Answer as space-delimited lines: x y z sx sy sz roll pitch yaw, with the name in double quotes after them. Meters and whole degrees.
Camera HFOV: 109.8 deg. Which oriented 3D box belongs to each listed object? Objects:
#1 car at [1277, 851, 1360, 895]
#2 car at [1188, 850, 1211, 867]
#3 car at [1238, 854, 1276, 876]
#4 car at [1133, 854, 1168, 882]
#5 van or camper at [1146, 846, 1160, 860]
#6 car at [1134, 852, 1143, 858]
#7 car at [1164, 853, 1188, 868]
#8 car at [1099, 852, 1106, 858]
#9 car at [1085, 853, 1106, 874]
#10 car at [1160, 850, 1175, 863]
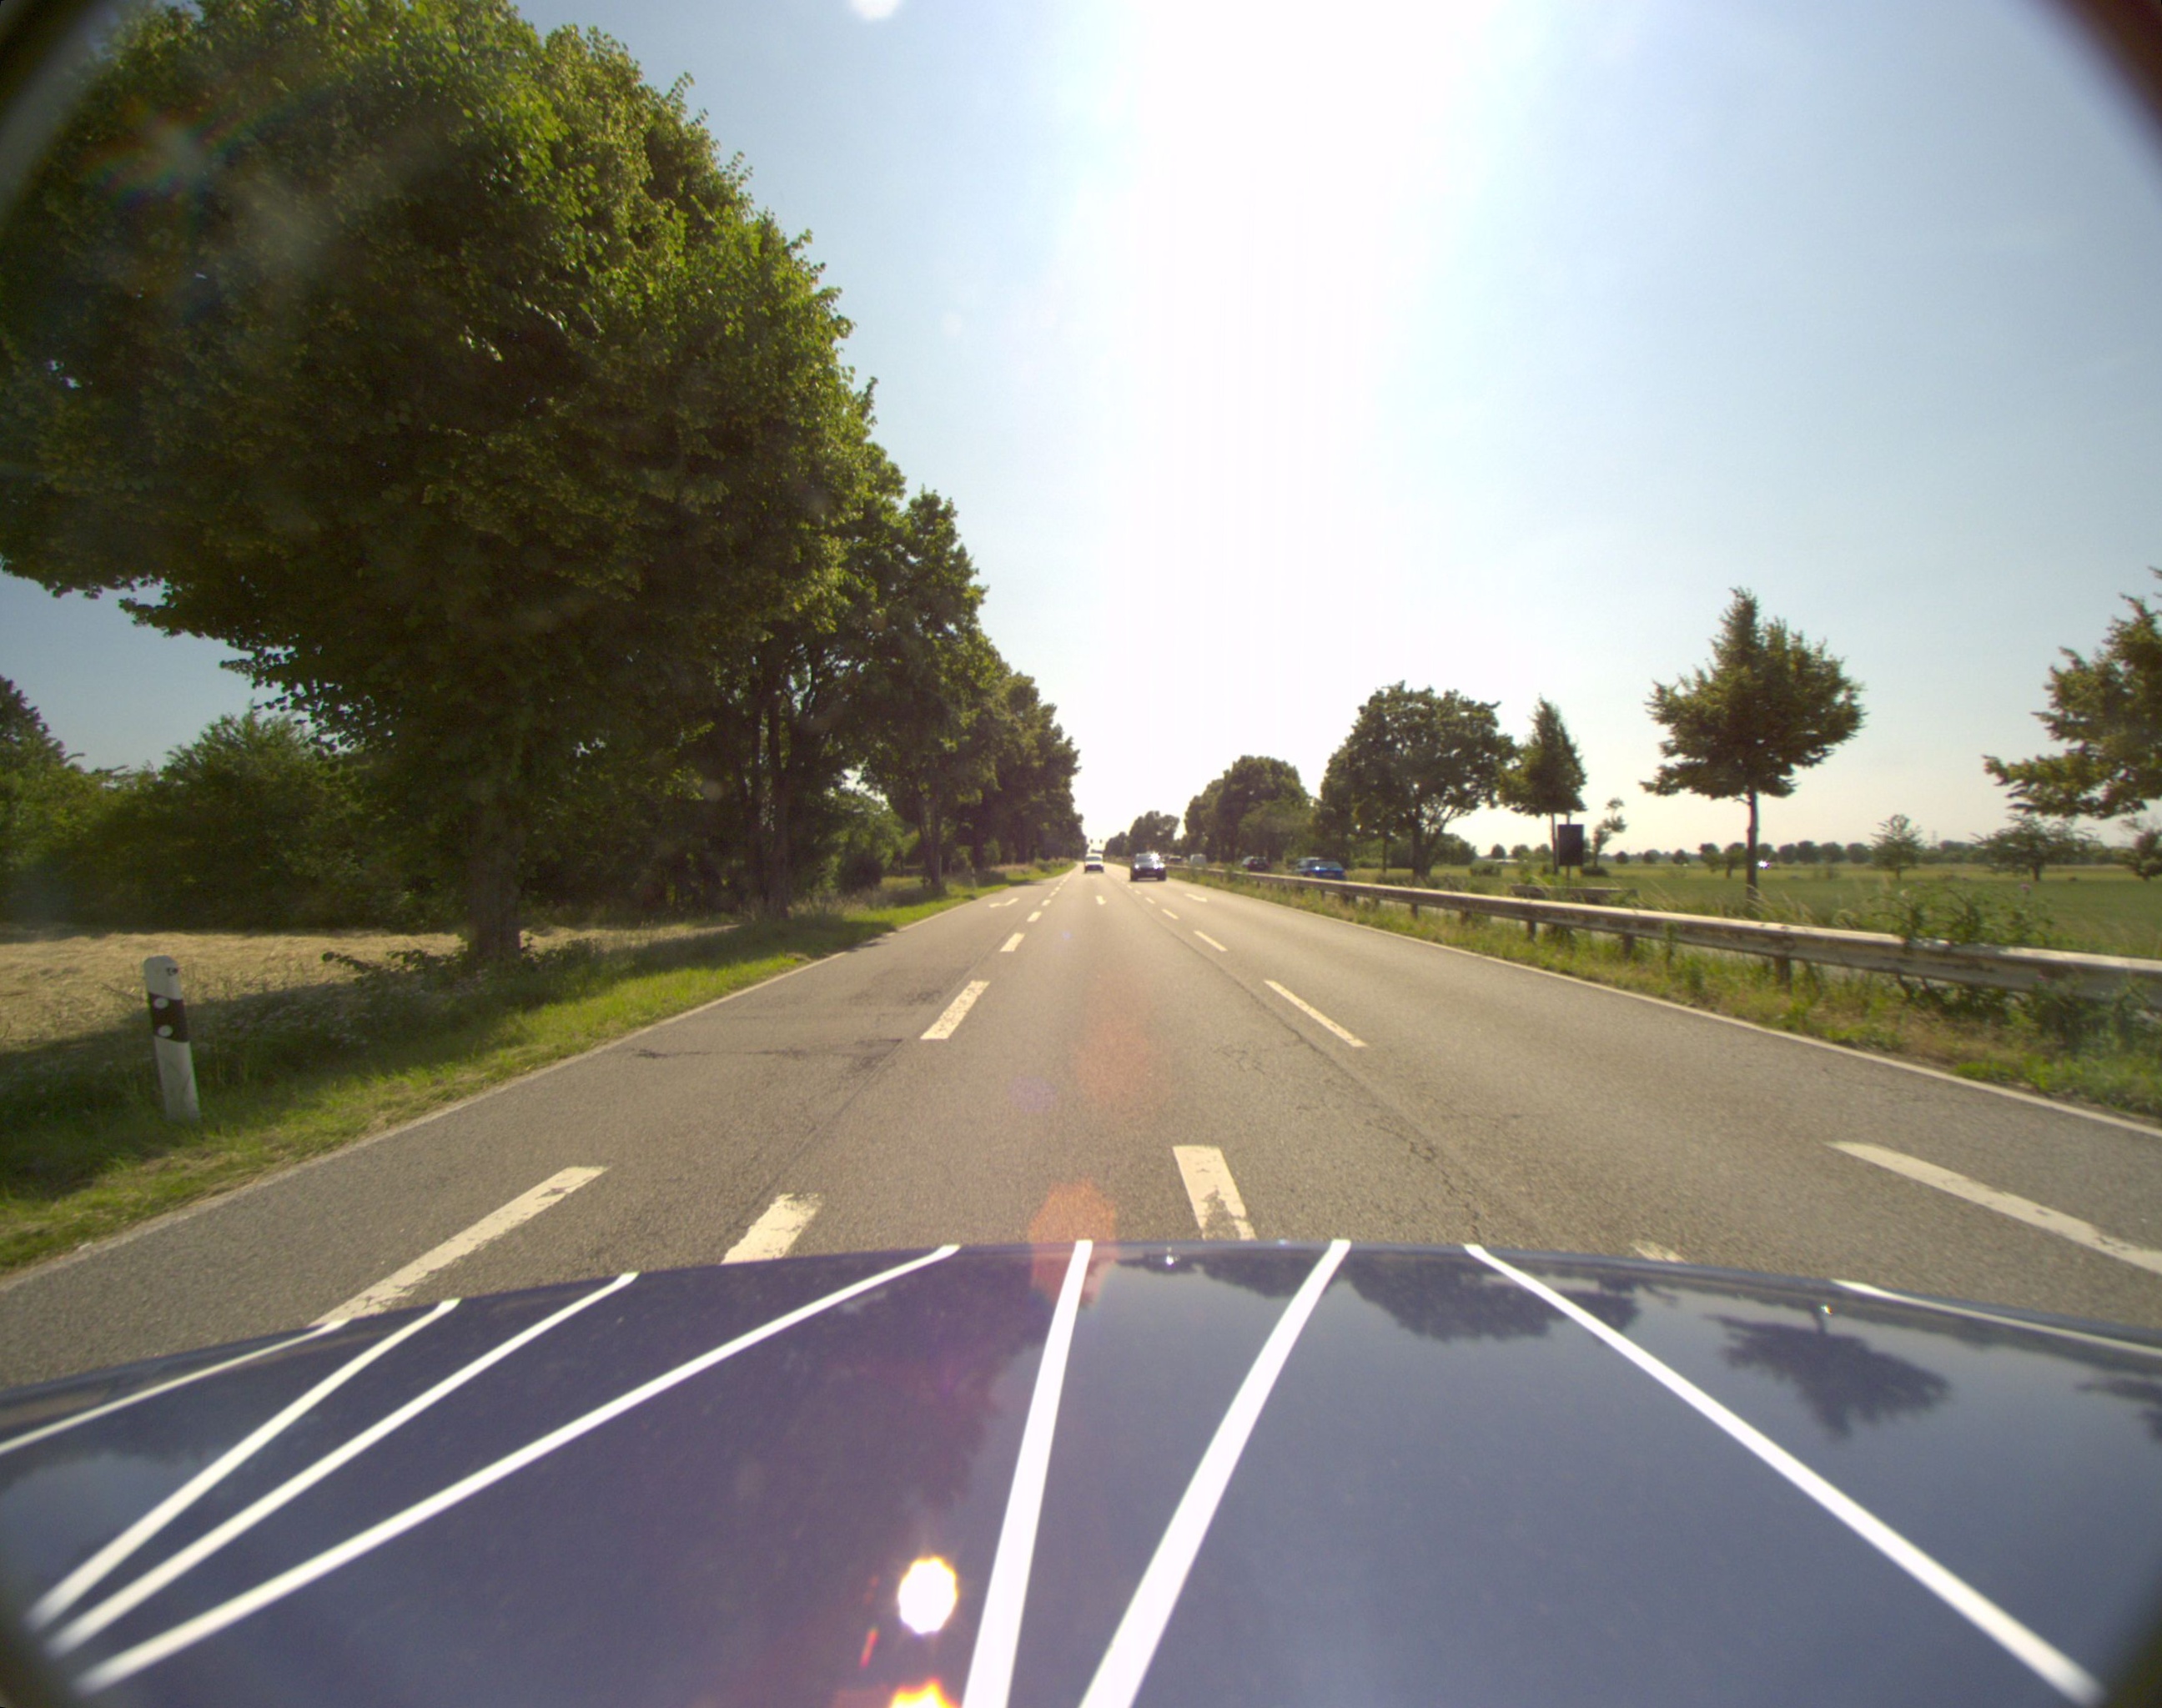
9.566 0.707 31.038 1.998 1.653 4.480 0 0 0 "car"
14.326 0.533 92.250 1.998 1.949 4.927 0 0 0 "car"
13.875 0.848 60.095 1.998 1.653 4.480 -1 0 0 "car"
4.070 0.788 45.225 1.860 1.507 4.100 -1 0 2 "car"
15.115 -0.150 159.803 2.391 2.931 7.091 0 0 1 "van or camper"
15.404 0.373 202.759 1.960 1.581 4.865 0 0 0 "car"
10.220 0.656 82.233 1.998 1.548 4.480 0 0 0 "car"
6.650 0.371 235.206 1.886 1.775 4.000 0 0 0 "car"
1.302 0.806 69.439 1.777 1.863 4.581 0 0 0 "car"
14.397 0.423 126.710 2.043 2.002 4.532 0 0 0 "car"
